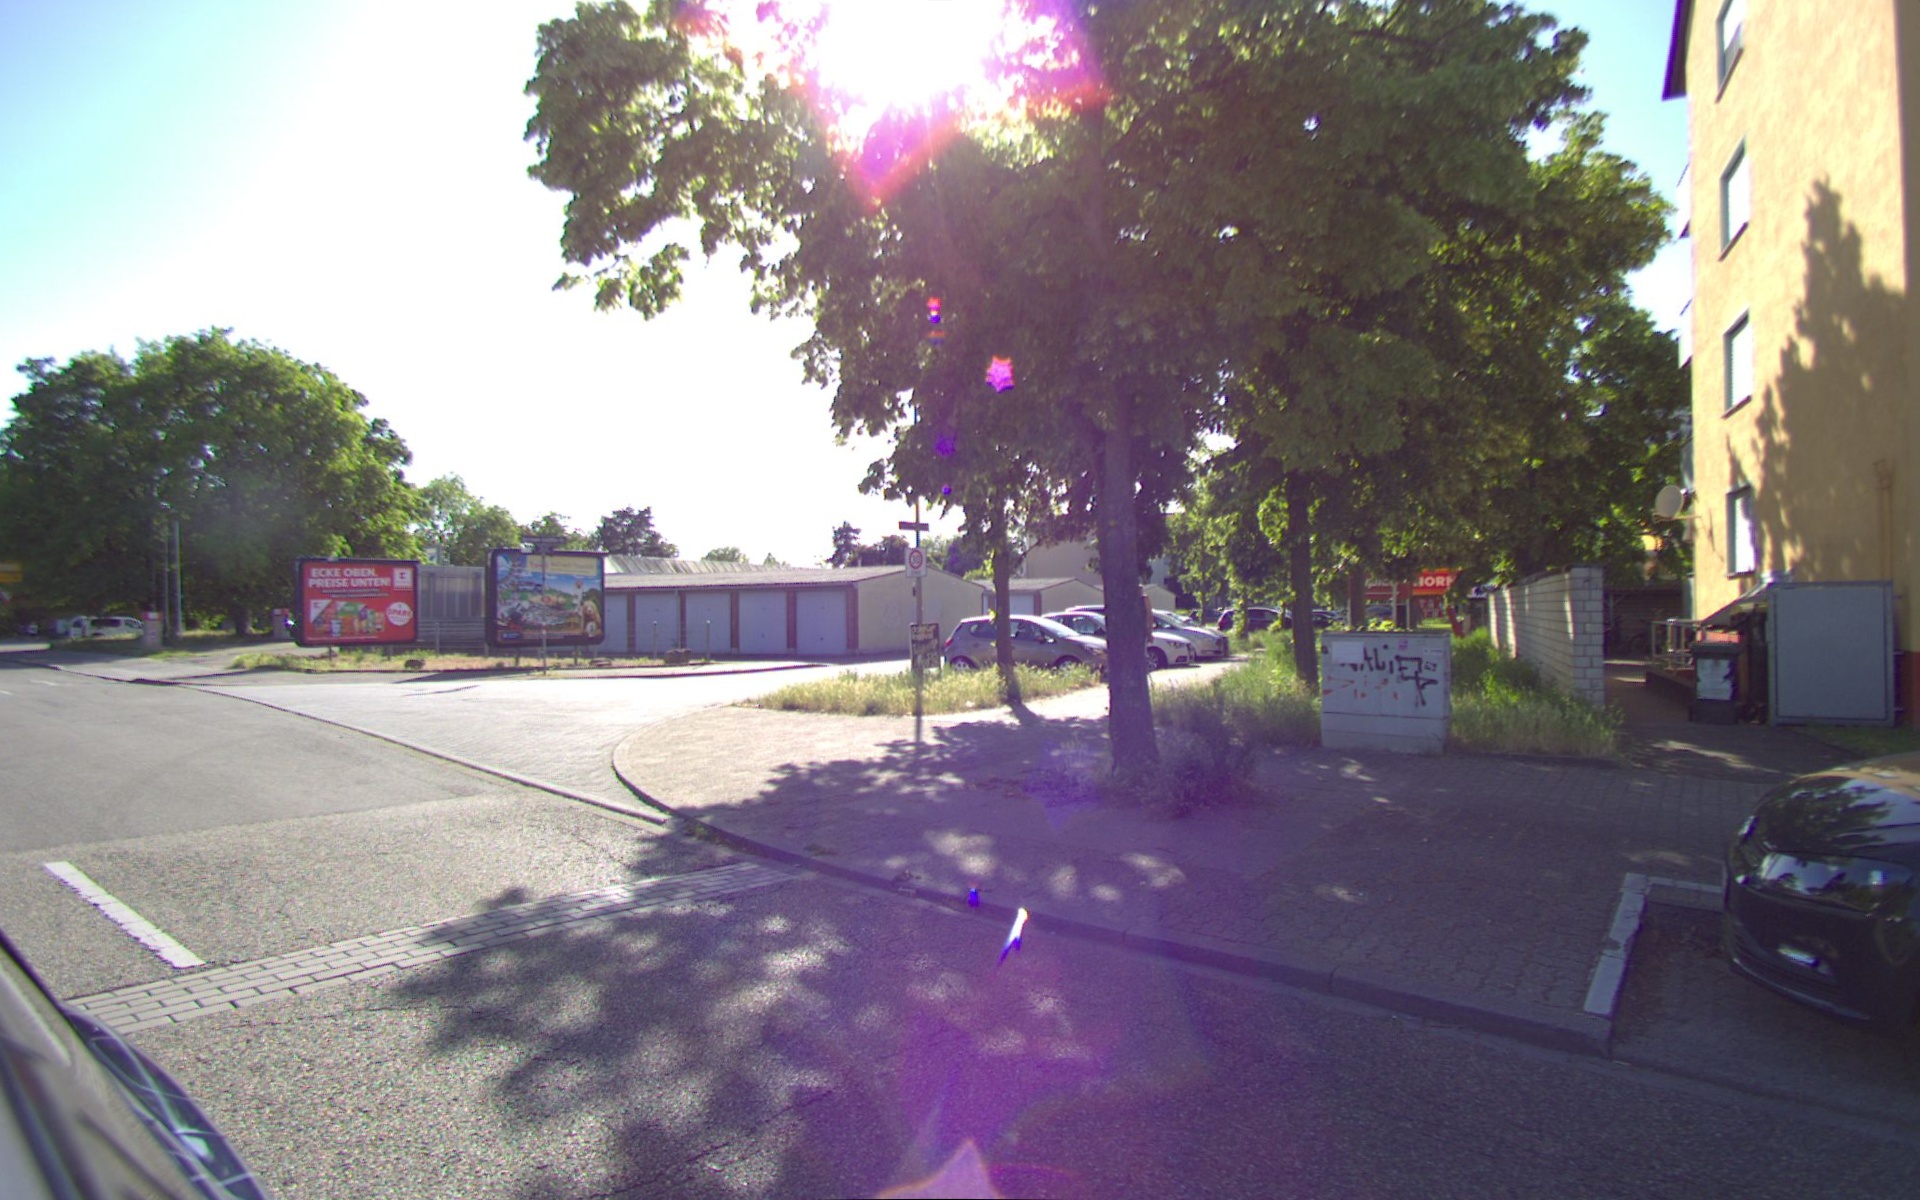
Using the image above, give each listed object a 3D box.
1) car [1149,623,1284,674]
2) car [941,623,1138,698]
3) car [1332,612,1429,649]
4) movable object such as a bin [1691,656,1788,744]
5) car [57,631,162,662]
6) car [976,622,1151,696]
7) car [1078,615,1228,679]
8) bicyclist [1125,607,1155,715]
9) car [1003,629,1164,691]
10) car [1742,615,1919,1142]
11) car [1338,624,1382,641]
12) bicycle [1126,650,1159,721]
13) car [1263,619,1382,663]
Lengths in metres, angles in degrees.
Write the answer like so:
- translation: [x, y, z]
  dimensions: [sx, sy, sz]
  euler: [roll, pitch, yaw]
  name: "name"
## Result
- translation: [8.055, 1.517, 31.862]
  dimensions: [3.862, 1.517, 1.493]
  euler: [-2, -2, 27]
  name: "car"
- translation: [1.696, 1.283, 21.753]
  dimensions: [3.860, 1.475, 1.719]
  euler: [-2, -2, 26]
  name: "car"
- translation: [18.760, 1.363, 45.130]
  dimensions: [3.862, 1.543, 1.493]
  euler: [-2, -2, 27]
  name: "car"
- translation: [8.644, 1.091, 11.257]
  dimensions: [0.743, 0.917, 0.691]
  euler: [-2, -2, 31]
  name: "movable object such as a bin"
- translation: [-54.154, 2.925, 64.568]
  dimensions: [1.854, 1.855, 4.822]
  euler: [-2, -2, 26]
  name: "car"
- translation: [2.502, 1.420, 24.434]
  dimensions: [3.856, 1.634, 1.690]
  euler: [-2, -2, 23]
  name: "car"
- translation: [5.474, 1.329, 28.727]
  dimensions: [3.862, 1.692, 1.687]
  euler: [-2, -2, 27]
  name: "car"
- translation: [2.888, 0.976, 16.252]
  dimensions: [0.377, 1.698, 0.389]
  euler: [-2, -1, 7]
  name: "bicyclist"
- translation: [3.224, 1.560, 26.436]
  dimensions: [3.856, 1.475, 1.690]
  euler: [-3, -2, 23]
  name: "car"
- translation: [4.690, 0.849, 2.683]
  dimensions: [4.043, 1.491, 1.686]
  euler: [1, 2, 36]
  name: "car"
- translation: [39.810, 3.285, 100.660]
  dimensions: [3.978, 1.632, 1.640]
  euler: [-1, -3, 26]
  name: "car"
- translation: [2.911, 1.344, 16.203]
  dimensions: [0.401, 1.018, 1.619]
  euler: [-1, -1, 7]
  name: "bicycle"
- translation: [13.102, 1.491, 36.598]
  dimensions: [3.862, 1.517, 1.493]
  euler: [-2, -2, 27]
  name: "car"
